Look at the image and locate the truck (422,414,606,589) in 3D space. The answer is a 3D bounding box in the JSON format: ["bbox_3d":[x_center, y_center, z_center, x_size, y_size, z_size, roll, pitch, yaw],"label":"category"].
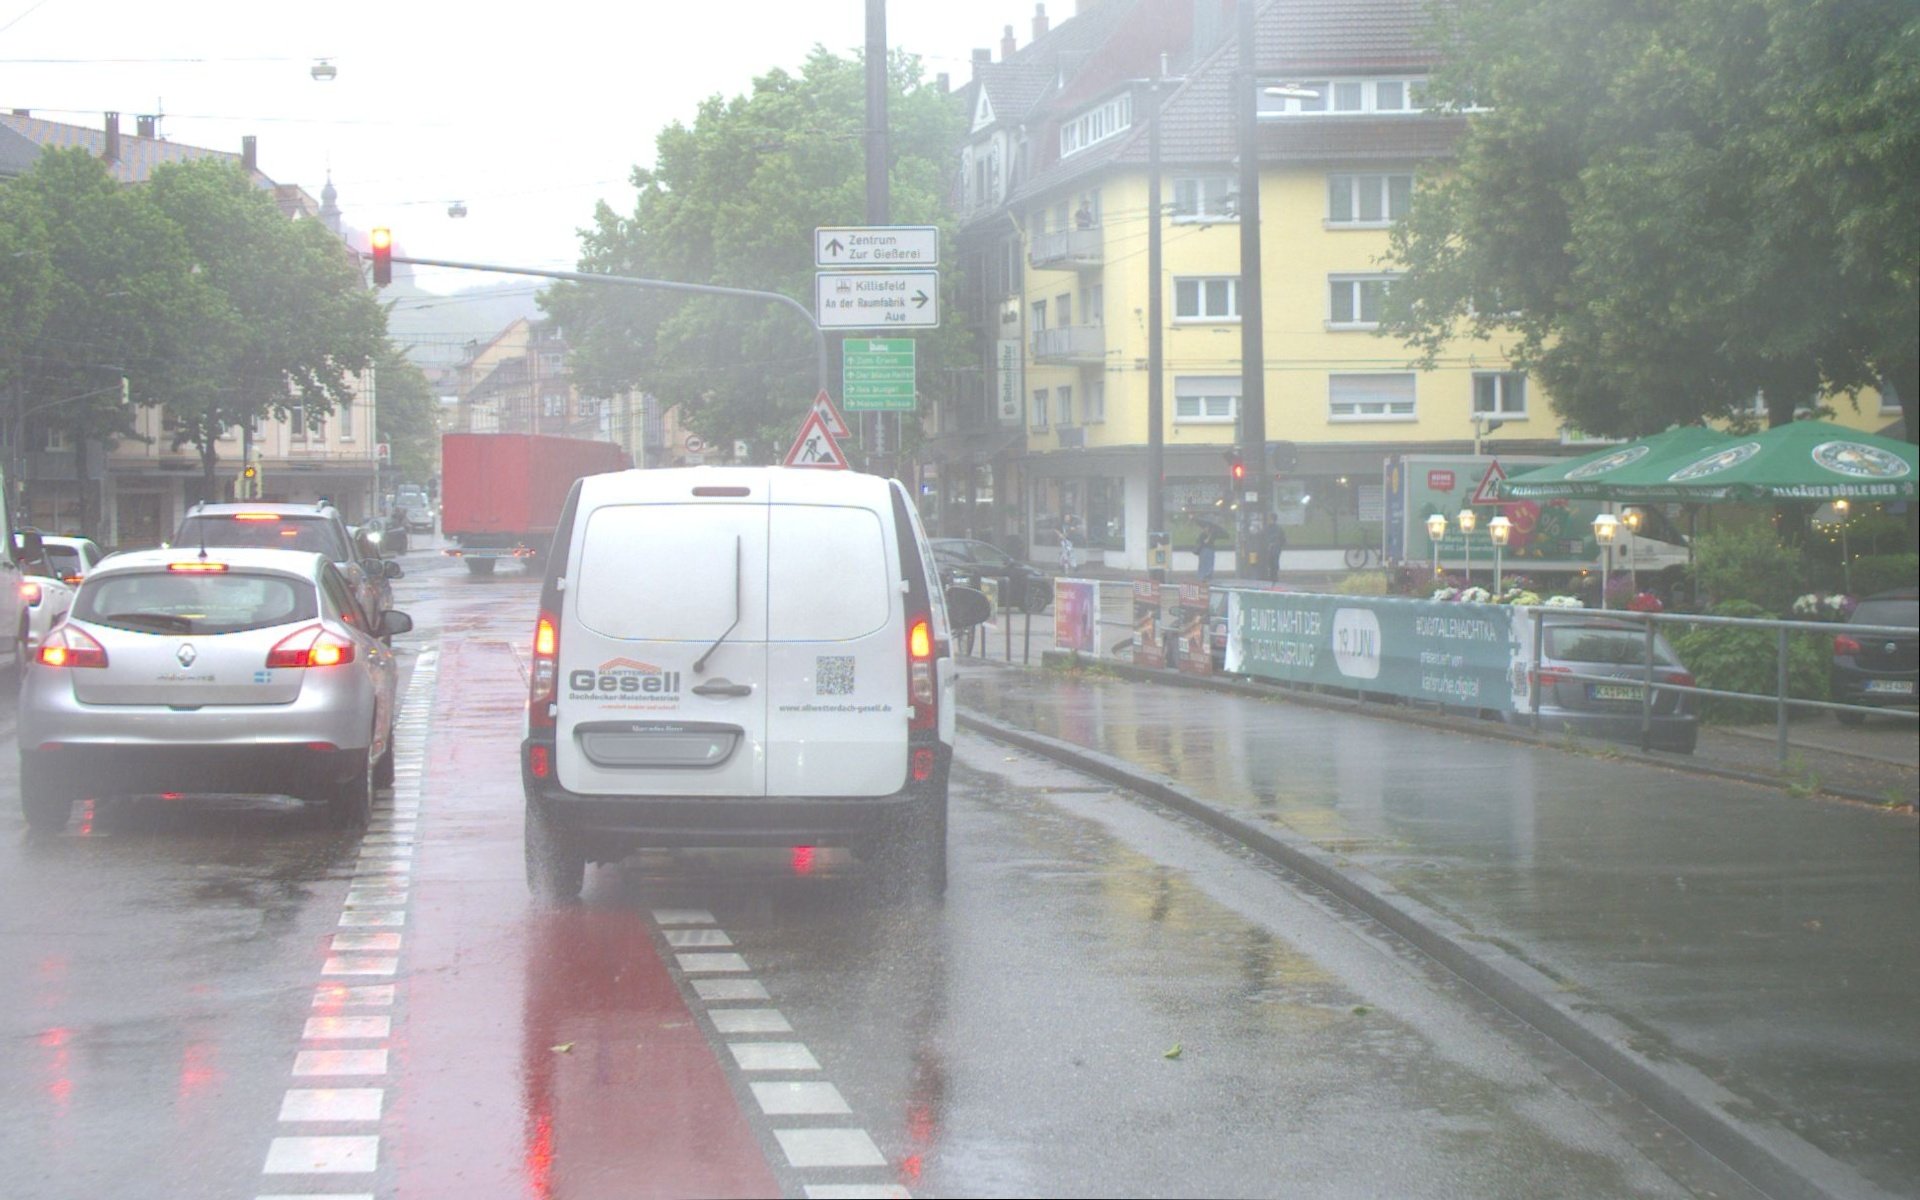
[{"bbox_3d":[-13.222,-3.003,103.181,3.278,4.882,11.401,-1,2,3],"label":"truck"}]

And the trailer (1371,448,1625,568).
[{"bbox_3d":[10.682,-1.812,68.456,4.652,2.309,2.000,0,0,-4],"label":"trailer"}]

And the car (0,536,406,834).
[{"bbox_3d":[-4.037,0.411,18.762,1.760,1.464,3.534,0,0,-5],"label":"car"}]

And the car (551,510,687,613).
[{"bbox_3d":[-5.307,-0.620,53.867,1.993,1.536,4.001,0,1,-4],"label":"car"}]

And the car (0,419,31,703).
[{"bbox_3d":[-9.154,-0.341,28.939,1.993,2.434,4.613,1,1,-8],"label":"car"}]

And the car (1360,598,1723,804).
[{"bbox_3d":[5.014,0.819,30.266,1.822,1.485,4.354,-2,2,-9],"label":"car"}]

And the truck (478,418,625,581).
[{"bbox_3d":[-12.854,-3.209,108.779,3.278,4.882,7.181,-1,2,3],"label":"truck"}]

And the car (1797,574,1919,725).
[{"bbox_3d":[11.071,0.498,38.310,1.888,1.473,3.992,0,3,38],"label":"car"}]

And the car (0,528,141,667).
[{"bbox_3d":[-11.331,-0.071,42.290,1.993,1.591,4.613,1,1,-8],"label":"car"}]

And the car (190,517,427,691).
[{"bbox_3d":[-5.790,0.025,30.903,1.760,1.464,3.534,0,0,-5],"label":"car"}]

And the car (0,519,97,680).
[{"bbox_3d":[-10.376,-0.052,36.233,1.993,1.591,4.613,1,1,-8],"label":"car"}]

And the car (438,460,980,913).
[{"bbox_3d":[-0.980,0.333,15.307,1.959,1.771,3.569,0,0,3],"label":"car"}]

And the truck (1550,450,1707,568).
[{"bbox_3d":[13.327,-1.799,68.620,2.640,2.291,2.000,0,0,-4],"label":"truck"}]
